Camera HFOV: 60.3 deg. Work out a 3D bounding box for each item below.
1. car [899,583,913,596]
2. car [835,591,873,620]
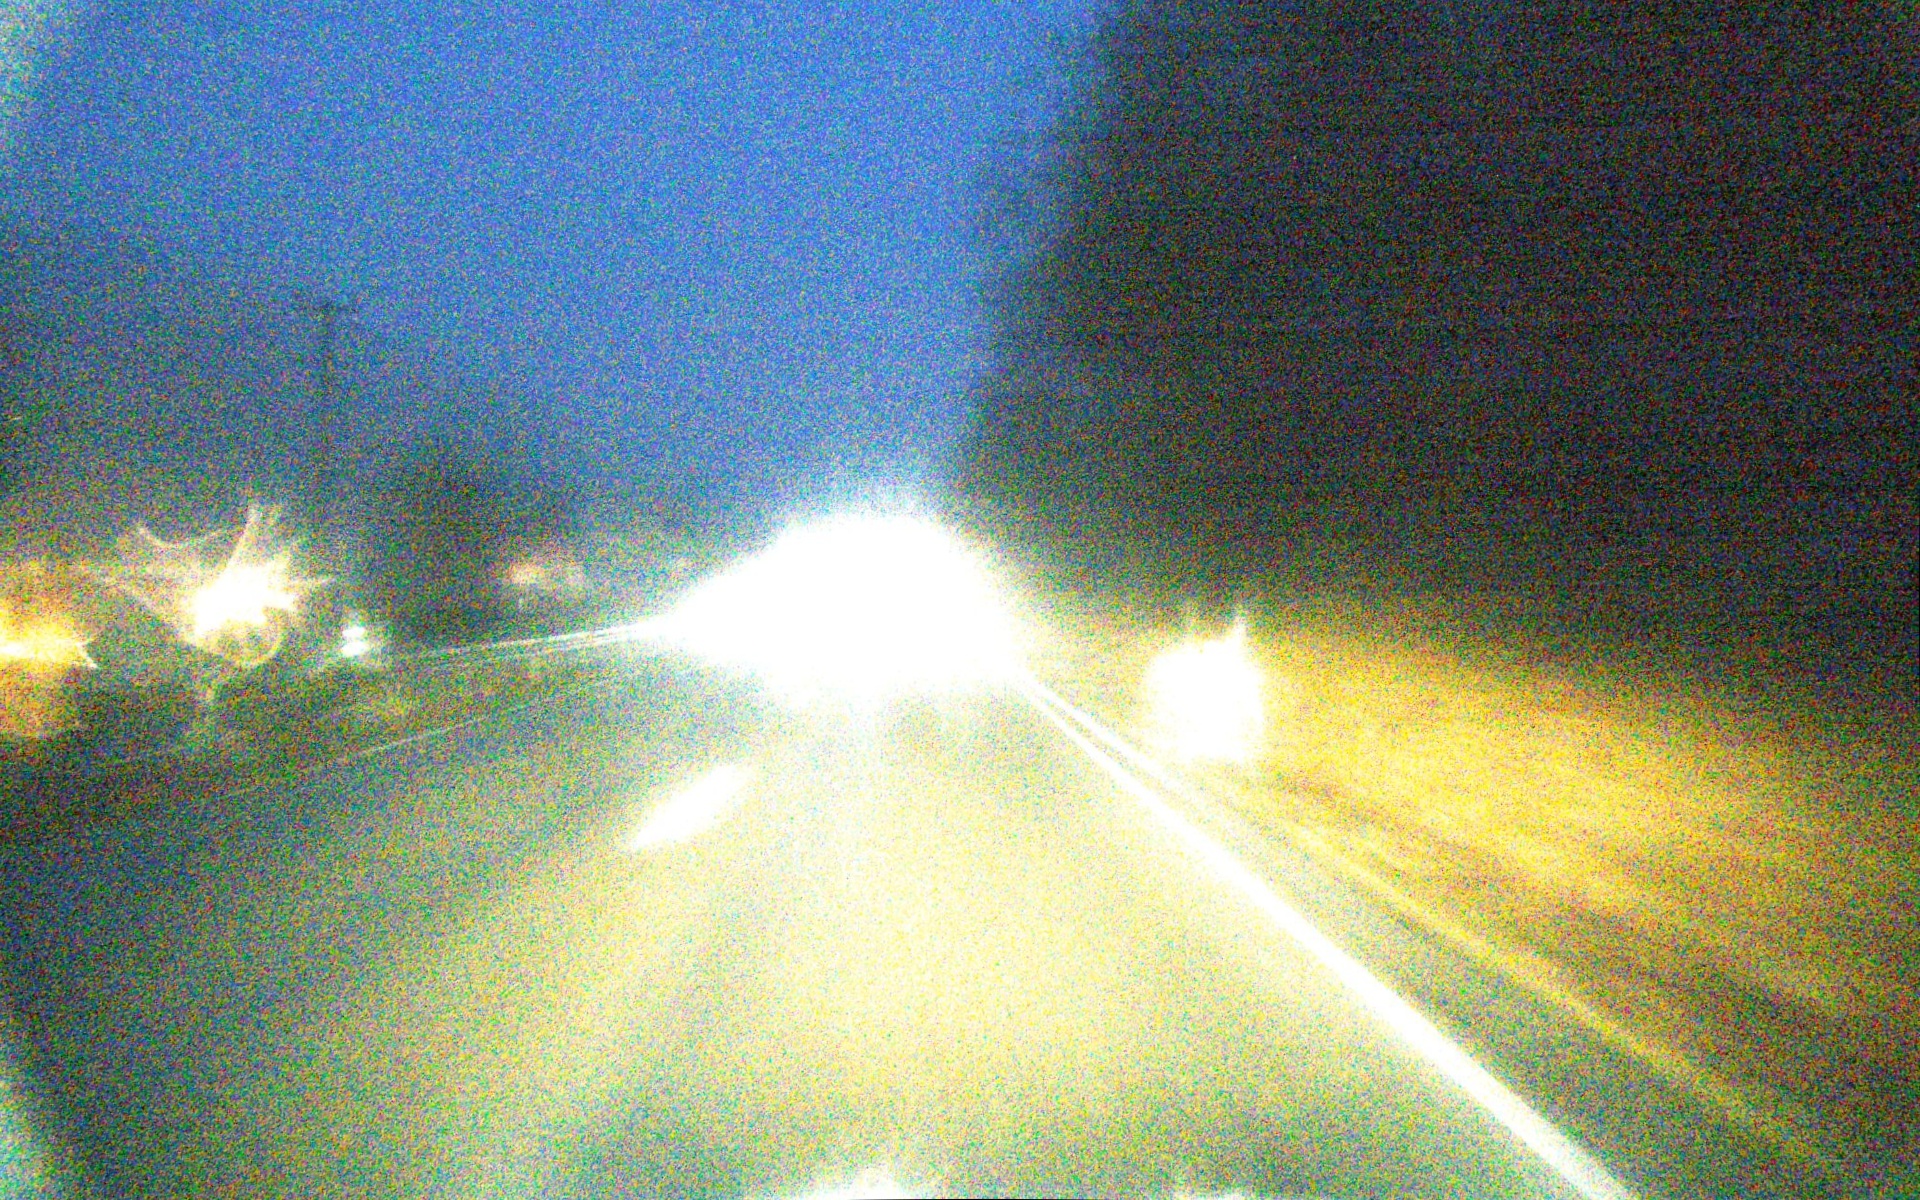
[{"bbox_3d":[-7.758,-1.502,238.495,1.953,1.695,3.999,1,0,-2],"label":"car"},{"bbox_3d":[-6.238,0.326,97.934,2.055,1.668,4.454,1,0,-2],"label":"car"}]
